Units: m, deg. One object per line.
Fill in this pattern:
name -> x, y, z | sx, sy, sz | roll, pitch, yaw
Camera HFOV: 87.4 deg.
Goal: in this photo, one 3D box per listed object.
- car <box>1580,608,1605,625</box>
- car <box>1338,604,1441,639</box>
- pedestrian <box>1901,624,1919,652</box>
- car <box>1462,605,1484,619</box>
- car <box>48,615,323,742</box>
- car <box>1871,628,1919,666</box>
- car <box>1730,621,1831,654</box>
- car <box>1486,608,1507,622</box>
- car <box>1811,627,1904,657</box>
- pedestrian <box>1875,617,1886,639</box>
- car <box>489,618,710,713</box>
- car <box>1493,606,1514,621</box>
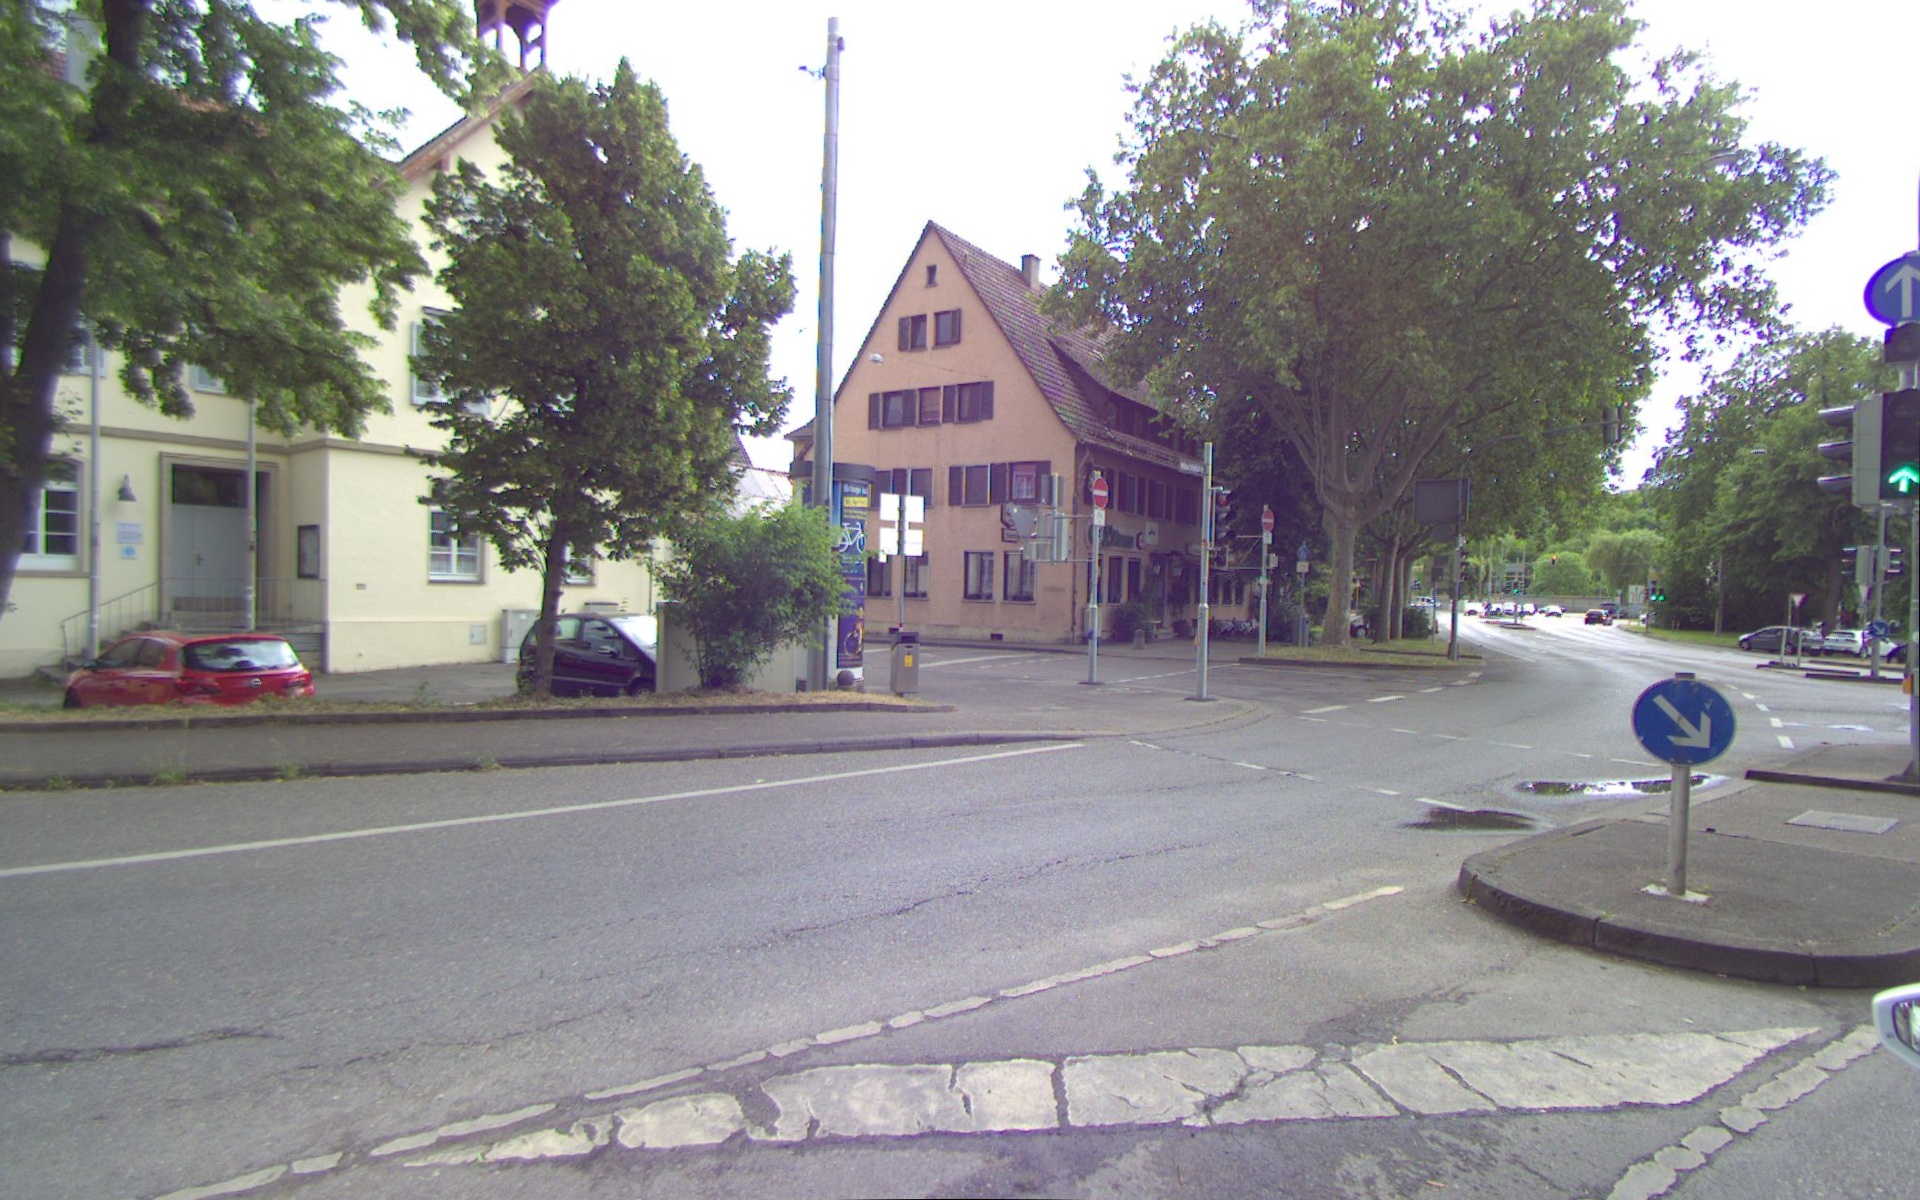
car -> 61.438, 1.616, 97.579 | 1.795, 1.529, 4.566 | 2, 0, 30
car -> 24.842, 1.215, 58.247 | 5.137, 1.957, 2.085 | 0, 0, 11
pedestrian -> 55.643, 2.203, 58.718 | 0.673, 1.572, 0.741 | 2, 1, 29
car -> 56.112, 1.305, 109.841 | 1.738, 1.486, 4.011 | 2, 0, 33
car -> -10.282, 0.943, 13.299 | 3.564, 1.371, 1.597 | 2, 0, 29
car -> 39.524, 1.963, 40.917 | 1.542, 1.423, 3.493 | 2, 1, -1
car -> 44.205, 1.988, 54.224 | 1.701, 1.448, 4.106 | 2, 2, -7
car -> 65.665, 1.785, 122.908 | 1.772, 1.608, 4.402 | 0, 1, 34
car -> 47.700, 2.218, 53.399 | 4.194, 1.399, 1.758 | 2, 1, -18
pedestrian -> 65.769, 1.974, 71.769 | 0.504, 1.552, 0.775 | 3, 1, 38
car -> -5.933, 1.012, 16.520 | 3.335, 1.327, 1.482 | 2, 0, 25
car -> 71.238, 1.717, 131.545 | 1.885, 1.787, 4.737 | 2, 1, 35
